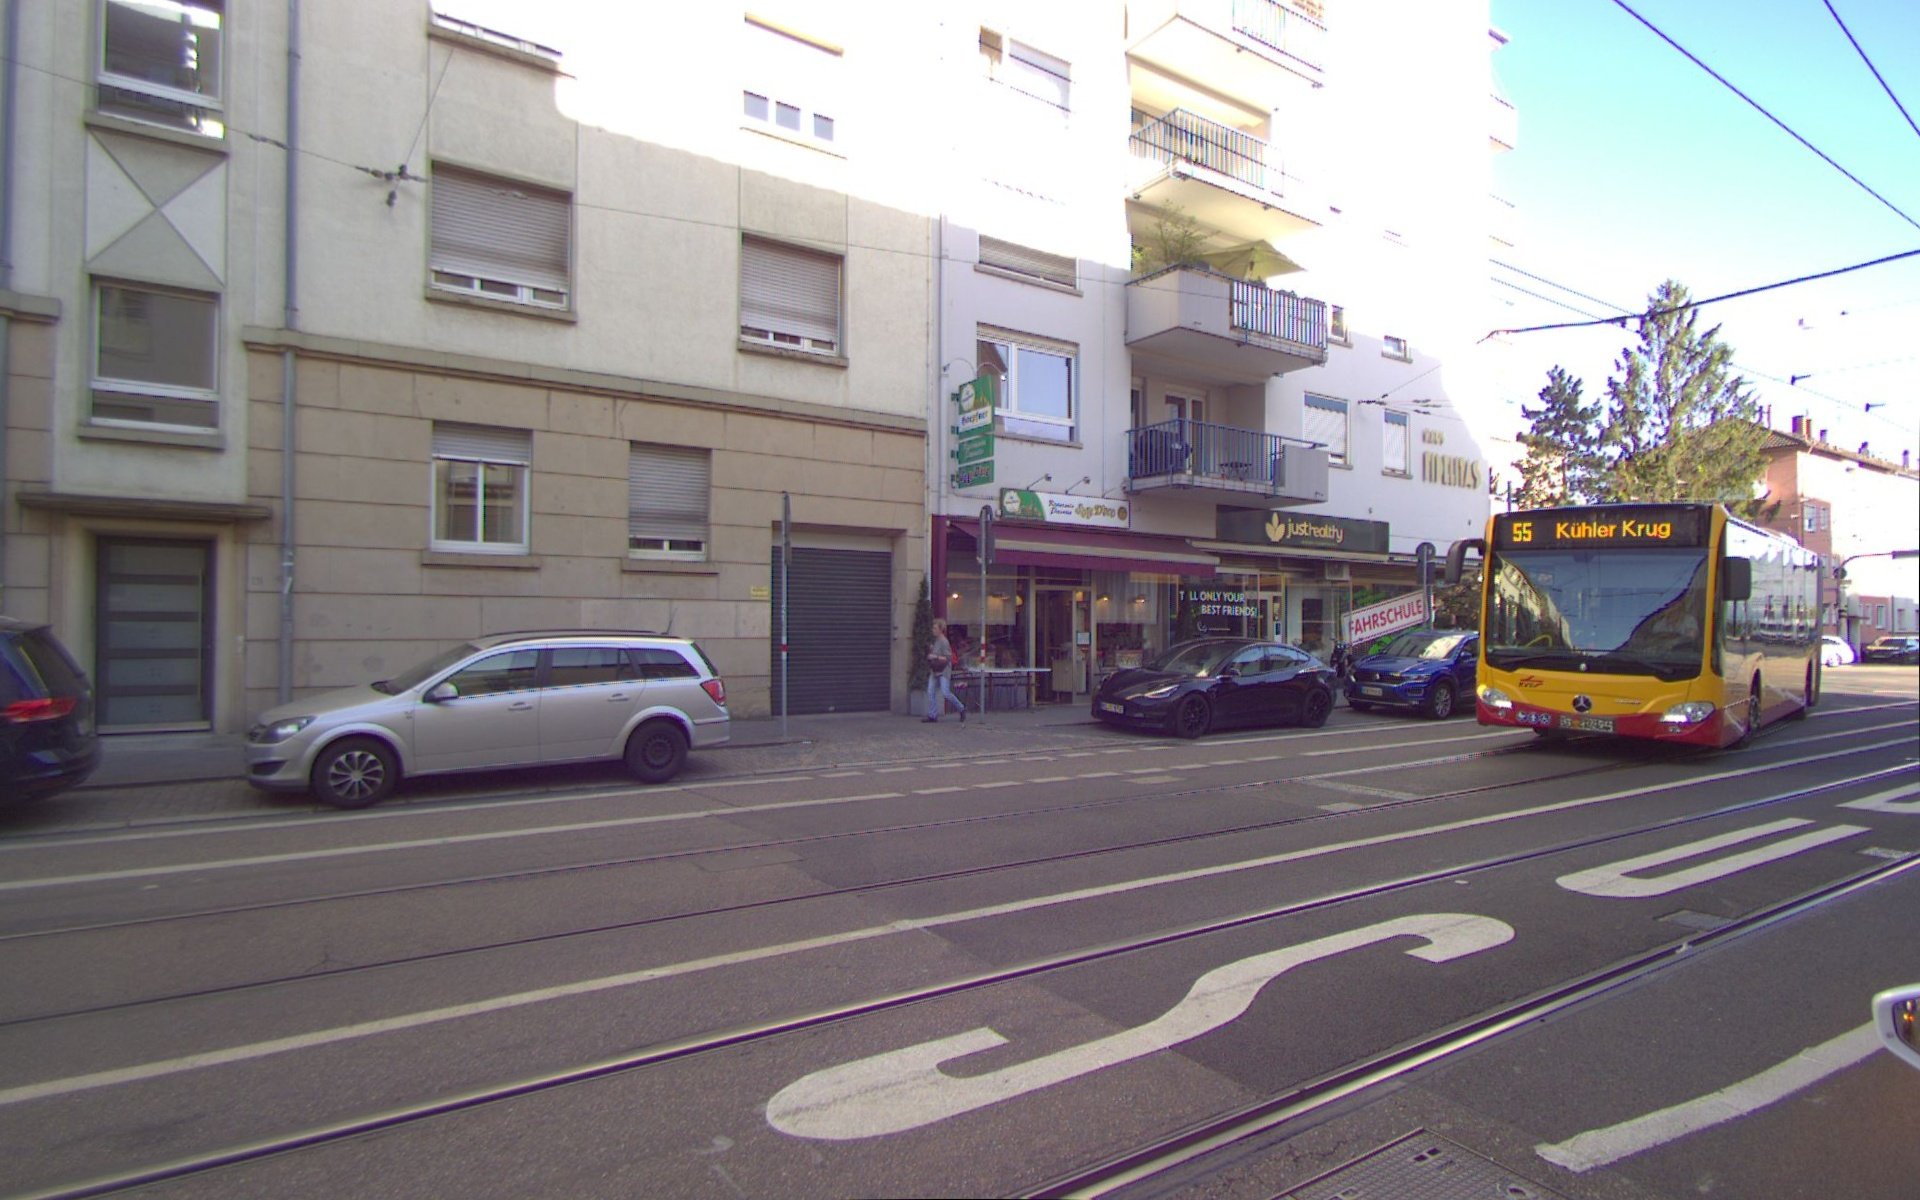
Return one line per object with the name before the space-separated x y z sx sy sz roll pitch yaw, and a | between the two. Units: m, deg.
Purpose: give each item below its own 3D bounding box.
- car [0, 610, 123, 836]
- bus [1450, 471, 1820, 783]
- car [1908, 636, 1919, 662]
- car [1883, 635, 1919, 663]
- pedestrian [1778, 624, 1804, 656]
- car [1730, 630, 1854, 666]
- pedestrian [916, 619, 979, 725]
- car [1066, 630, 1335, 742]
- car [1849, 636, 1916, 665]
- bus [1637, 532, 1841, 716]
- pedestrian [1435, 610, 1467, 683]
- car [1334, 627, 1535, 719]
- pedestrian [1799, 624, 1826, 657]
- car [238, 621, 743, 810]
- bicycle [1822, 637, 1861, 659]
car | -8.872 0.871 7.207 4.200 1.637 1.688 2 -1 -35
bus | 10.483 0.412 14.886 2.695 3.200 10.131 -1 -2 45
car | 58.060 2.881 59.529 3.959 1.517 1.899 1 -2 -34
car | 54.234 2.744 57.013 3.959 1.517 1.899 1 -2 -34
pedestrian | 44.148 2.126 53.348 0.728 1.713 0.841 1 -1 -27
car | 39.031 2.239 47.192 4.314 1.595 1.856 0 -1 0
pedestrian | -0.196 1.079 15.345 0.713 1.569 0.694 0 -1 -30
car | 3.891 1.293 15.986 4.266 1.529 1.689 2 -1 -33
car | 49.501 2.686 53.881 3.961 1.452 1.898 1 -2 -36
bus | 16.645 0.533 21.236 2.708 3.203 7.534 -1 -2 43
pedestrian | 14.017 1.318 28.680 0.481 2.040 0.682 1 -1 -35
car | 9.057 1.309 19.084 3.960 1.529 1.733 1 0 -35
pedestrian | 44.674 2.121 52.642 0.728 1.713 0.841 1 -1 -27
car | -4.595 1.033 10.229 4.340 1.529 1.689 2 -1 -33
bicycle | 52.000 2.818 59.257 3.267 1.241 0.844 1 -2 -32
